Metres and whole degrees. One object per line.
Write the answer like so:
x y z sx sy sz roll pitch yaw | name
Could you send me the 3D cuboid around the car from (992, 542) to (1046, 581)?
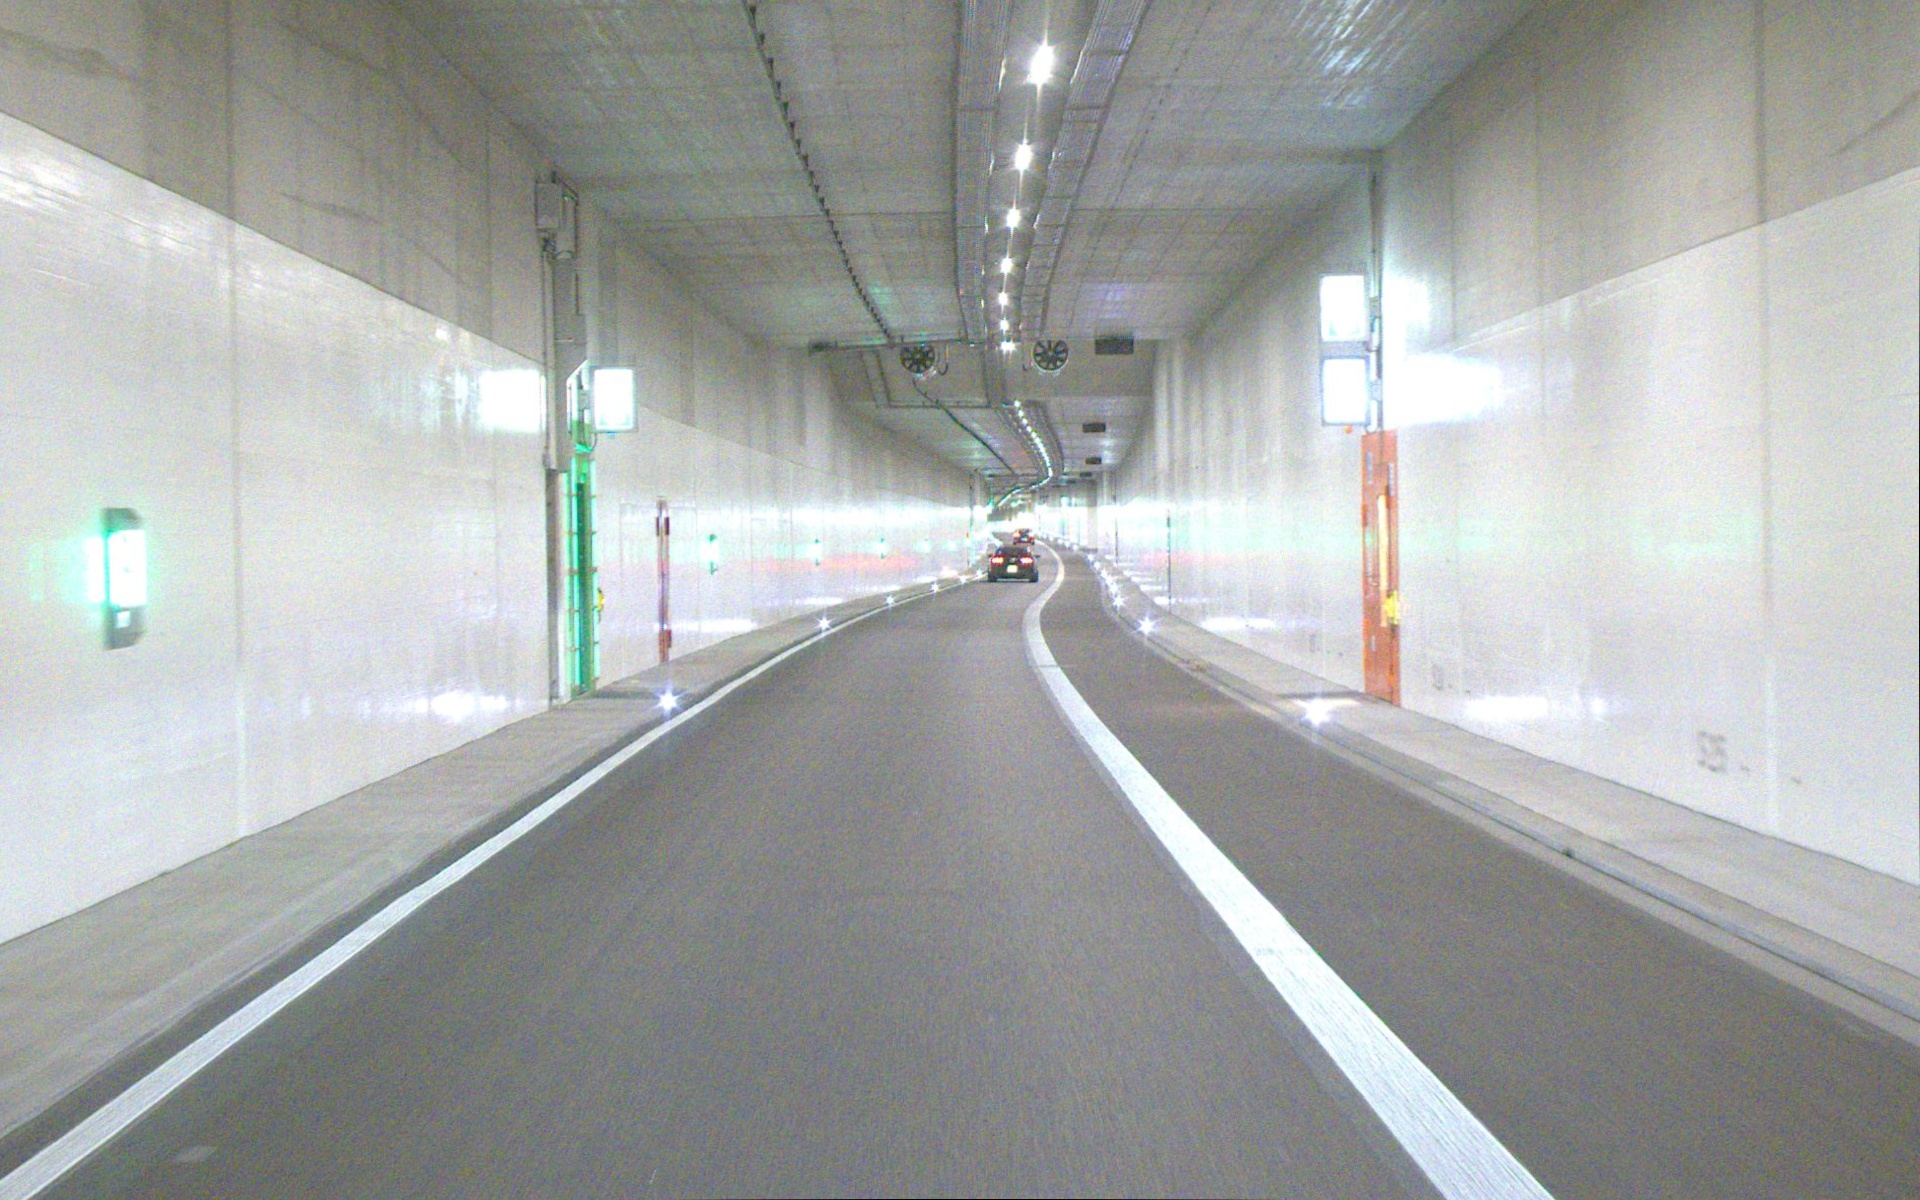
2.243 -1.486 131.622 1.993 1.415 4.000 1 1 0 | car
